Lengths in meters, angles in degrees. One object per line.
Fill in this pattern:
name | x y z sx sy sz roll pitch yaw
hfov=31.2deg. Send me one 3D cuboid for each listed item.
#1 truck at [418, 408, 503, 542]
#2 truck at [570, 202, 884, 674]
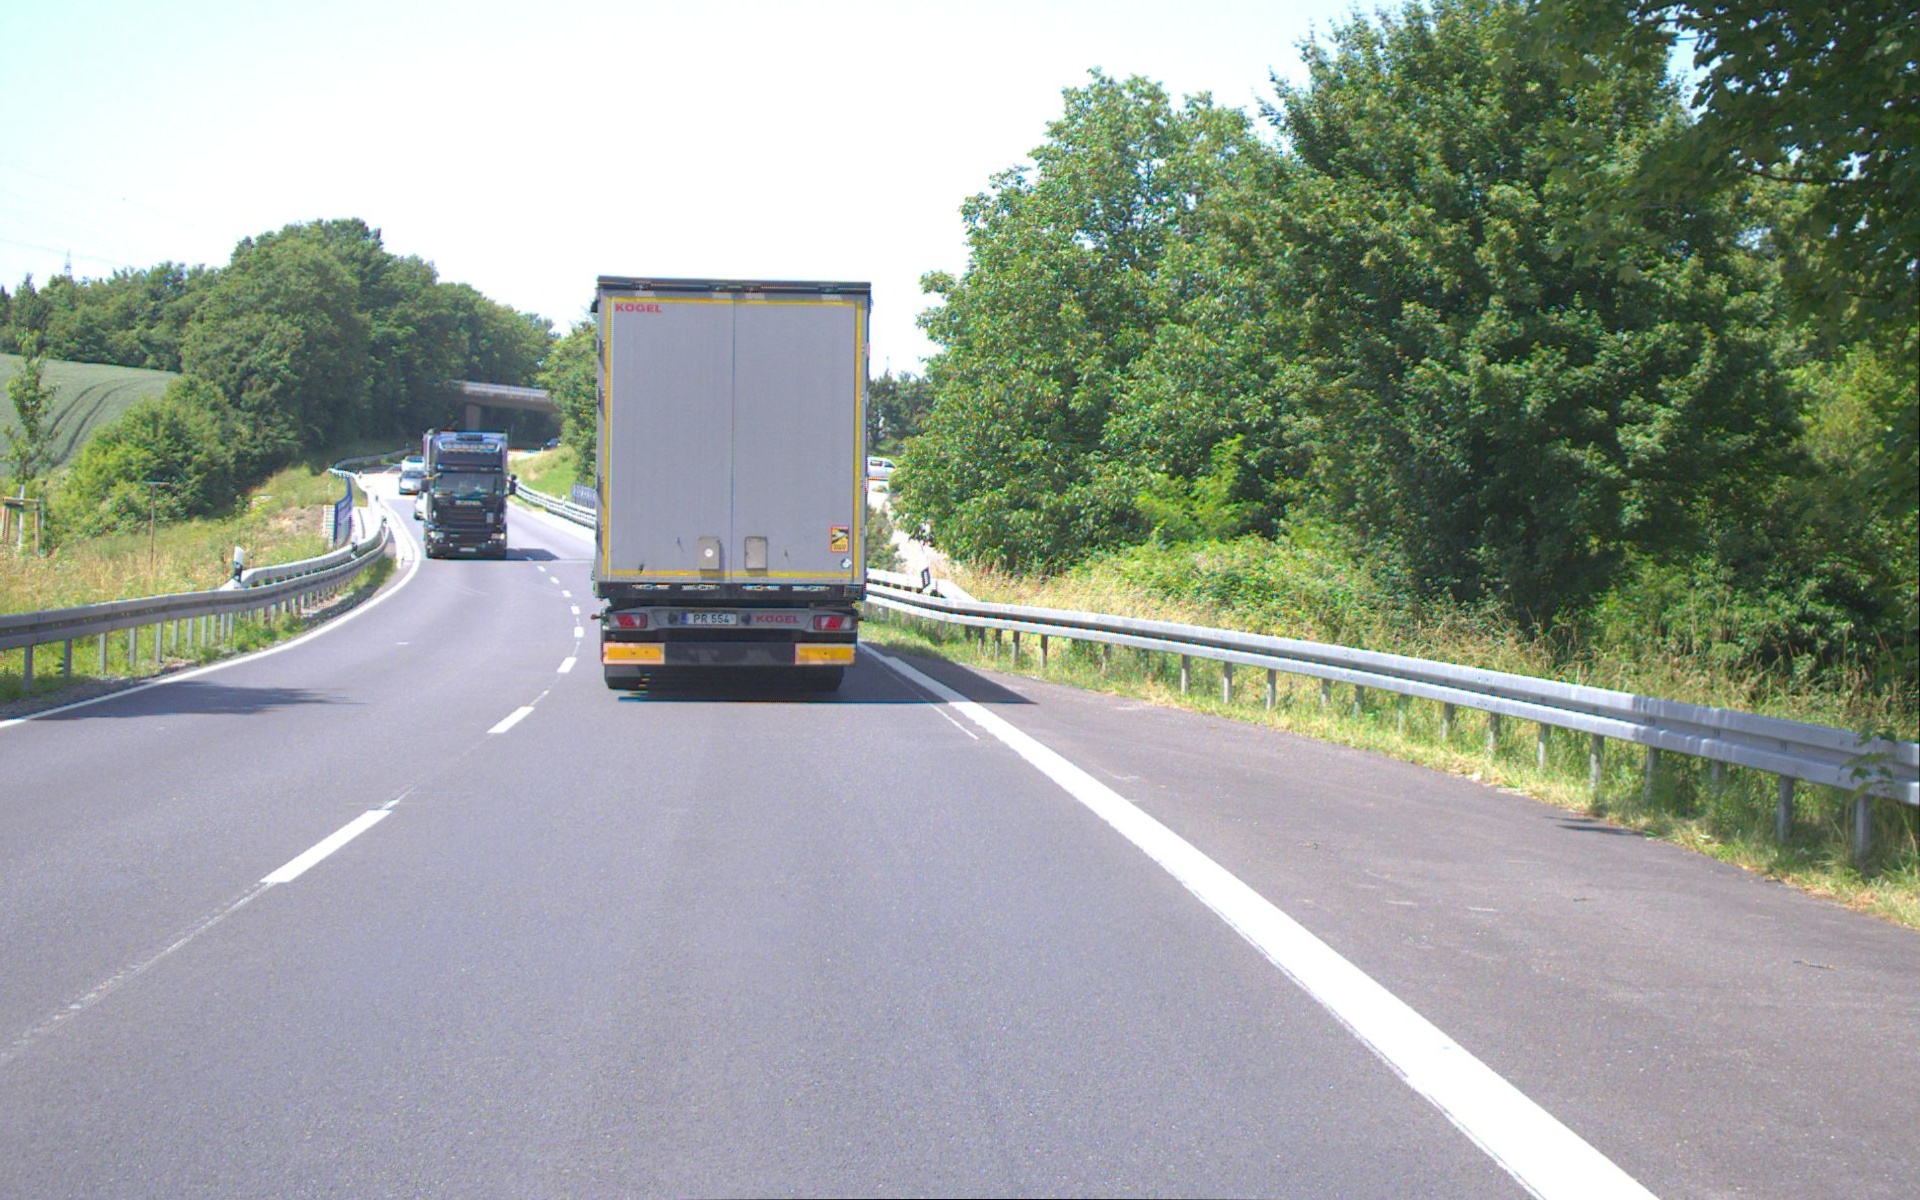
truck | -16.075 -4.003 110.918 2.445 4.180 5.650 1 1 -6
truck | -2.705 -1.605 36.847 2.865 4.344 9.791 1 1 -6
